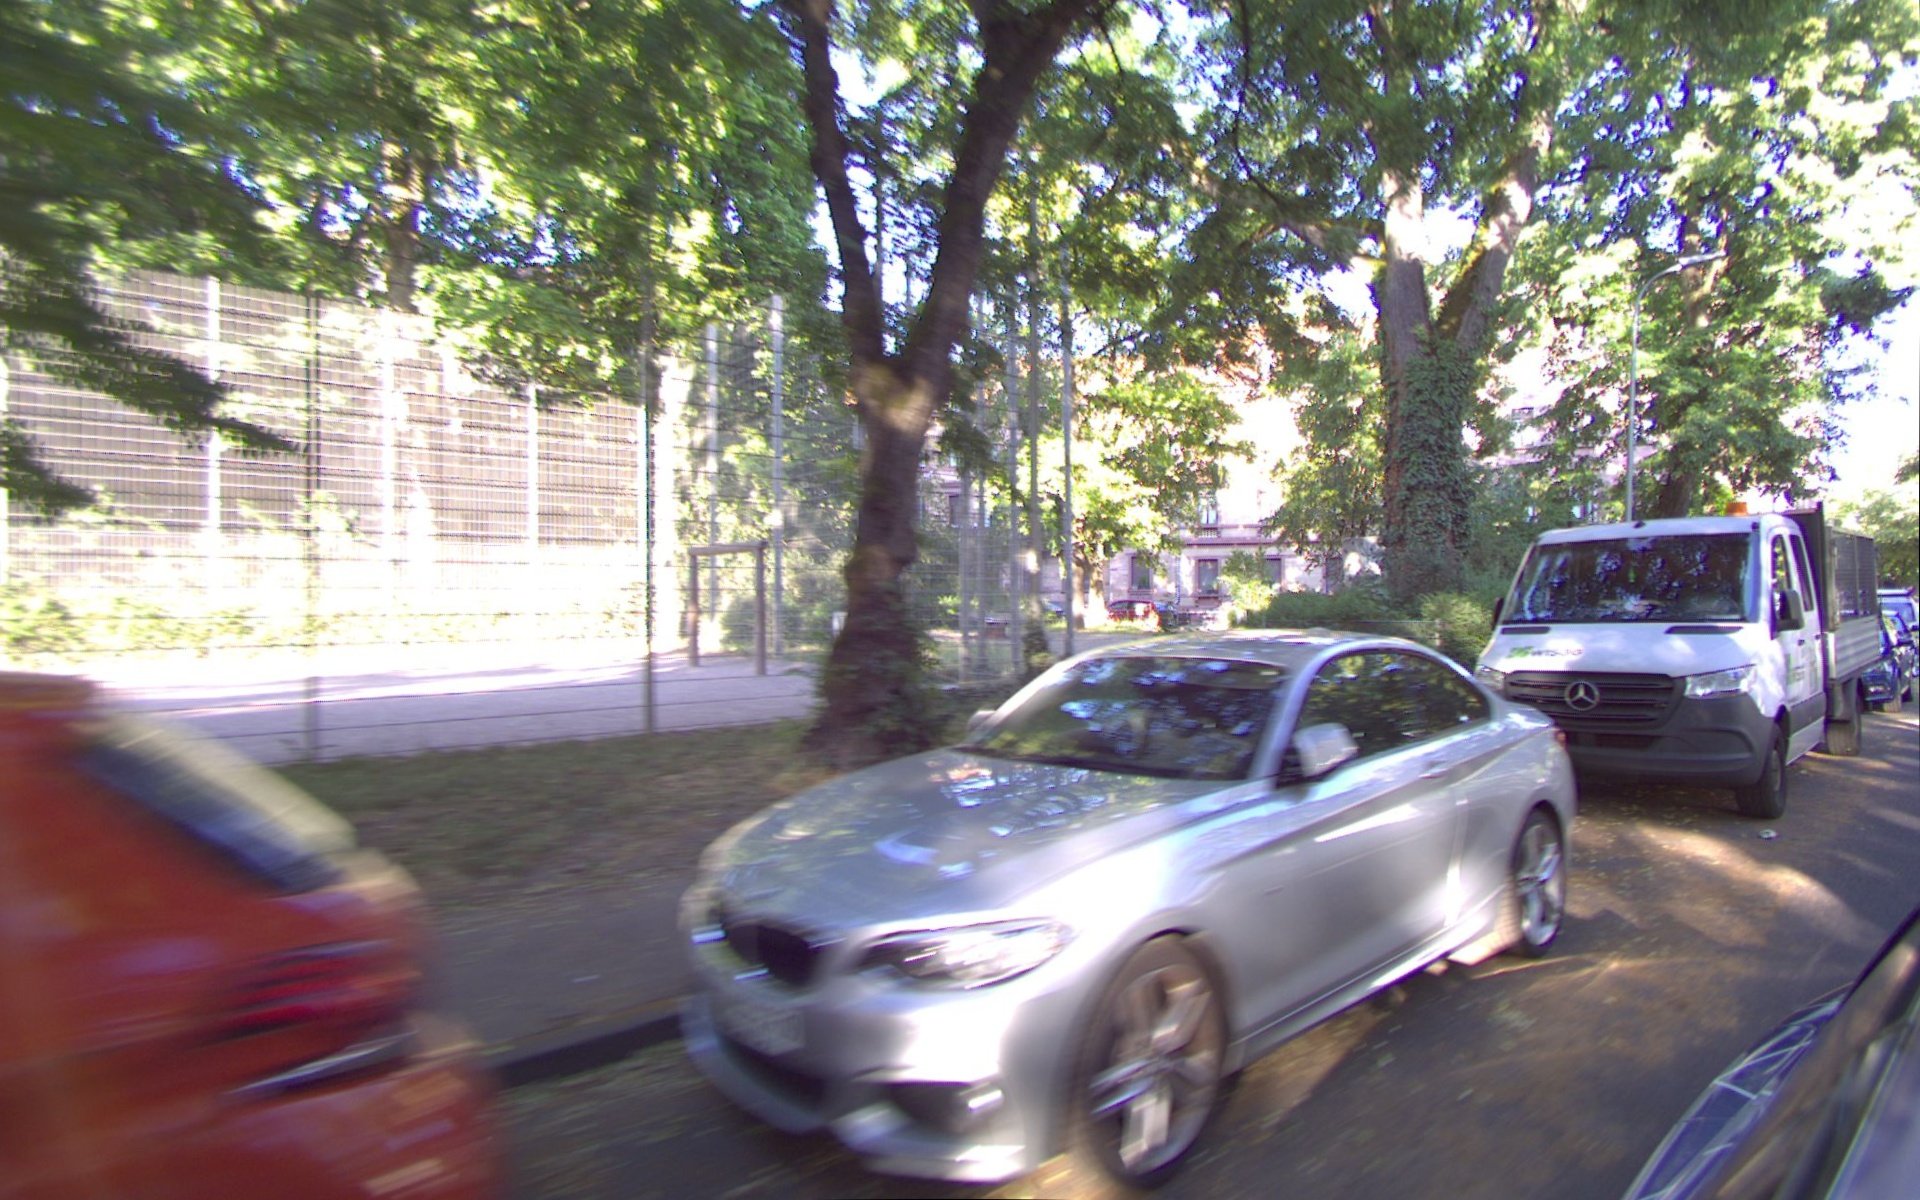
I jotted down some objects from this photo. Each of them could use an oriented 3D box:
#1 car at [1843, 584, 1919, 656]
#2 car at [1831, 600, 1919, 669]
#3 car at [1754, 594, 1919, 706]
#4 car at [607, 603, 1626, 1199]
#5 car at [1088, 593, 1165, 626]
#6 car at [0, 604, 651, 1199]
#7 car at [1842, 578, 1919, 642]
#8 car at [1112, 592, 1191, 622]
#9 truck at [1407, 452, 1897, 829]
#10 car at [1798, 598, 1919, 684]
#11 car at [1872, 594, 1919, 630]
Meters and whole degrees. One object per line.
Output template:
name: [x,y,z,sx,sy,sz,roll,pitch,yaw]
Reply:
car: [24.282,0.472,26.317,1.787,1.729,4.307,-1,0,44]
car: [20.903,0.714,22.758,1.673,1.408,4.197,-1,0,45]
car: [13.530,0.666,15.426,3.828,1.477,1.674,0,0,-43]
car: [0.982,0.740,4.053,4.222,1.415,1.675,0,0,-40]
car: [7.853,0.413,47.732,3.418,1.427,1.792,1,1,15]
car: [-2.488,0.760,0.955,3.880,1.472,1.675,0,0,-41]
car: [30.559,0.305,33.444,1.963,1.960,5.377,-1,0,40]
car: [10.043,0.334,52.906,3.943,1.427,1.792,1,1,16]
truck: [6.932,0.245,9.644,6.815,2.416,2.298,0,0,-42]
car: [17.528,0.721,19.573,1.673,1.477,3.830,-1,0,45]
car: [47.609,0.561,50.981,1.930,1.643,4.187,-5,-2,36]
